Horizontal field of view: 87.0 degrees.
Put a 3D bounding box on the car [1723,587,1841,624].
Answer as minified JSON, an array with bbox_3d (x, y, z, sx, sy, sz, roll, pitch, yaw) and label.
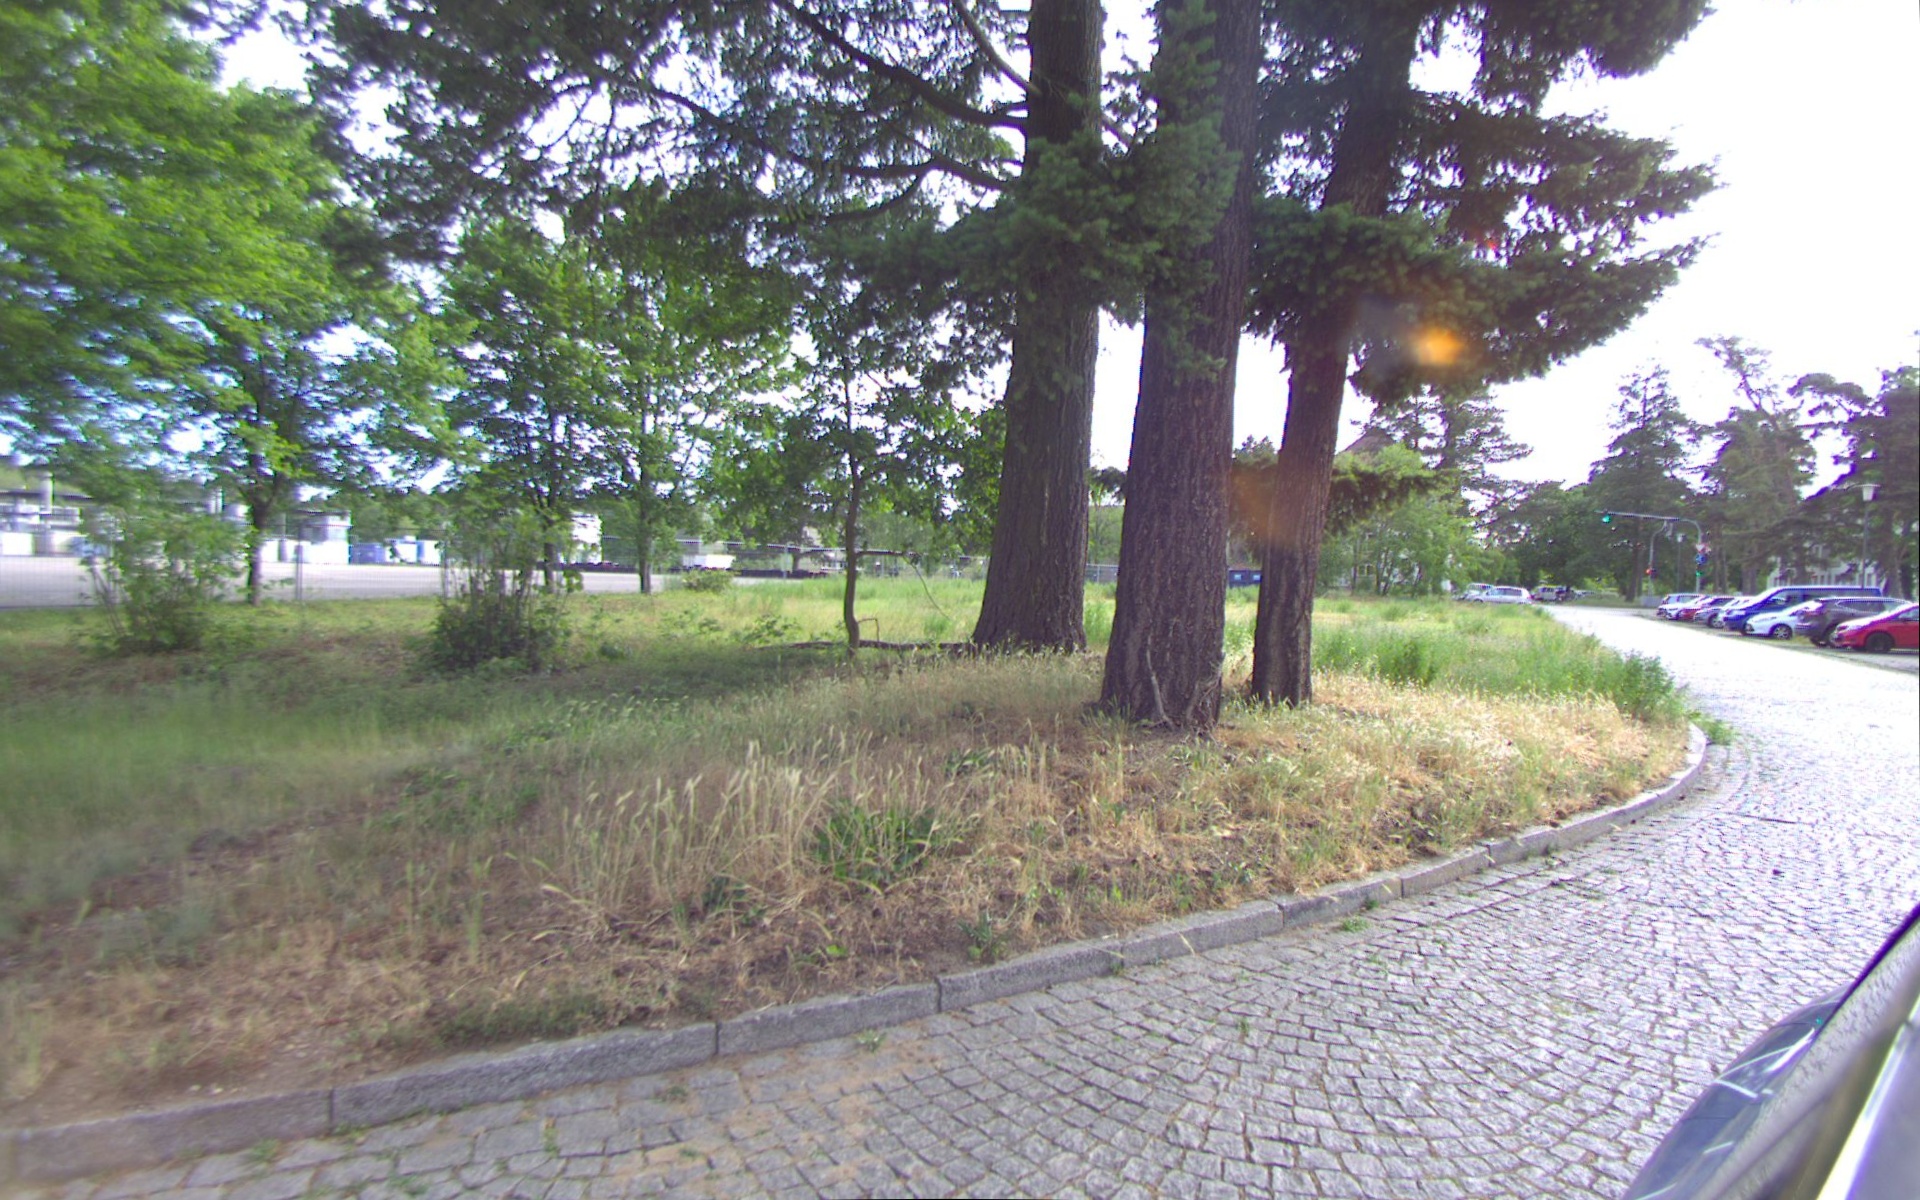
[{"bbox_3d":[35.015,0.243,43.214,3.558,1.472,1.676,-1,1,22],"label":"car"}]

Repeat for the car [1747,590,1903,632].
[{"bbox_3d":[30.877,0.377,36.278,3.894,1.410,1.727,-1,1,28],"label":"car"}]

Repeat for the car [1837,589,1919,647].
[{"bbox_3d":[27.131,0.520,28.074,3.920,1.539,1.690,2,1,29],"label":"car"}]

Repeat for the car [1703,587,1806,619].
[{"bbox_3d":[37.694,0.130,48.107,3.531,1.452,1.595,-1,1,22],"label":"car"}]

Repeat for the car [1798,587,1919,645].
[{"bbox_3d":[28.092,0.487,30.585,3.881,1.623,1.804,3,2,27],"label":"car"}]

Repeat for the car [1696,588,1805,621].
[{"bbox_3d":[35.725,0.188,45.816,3.558,1.438,1.607,0,1,22],"label":"car"}]

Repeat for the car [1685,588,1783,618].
[{"bbox_3d":[38.664,0.150,50.625,3.531,1.434,1.627,-1,1,22],"label":"car"}]

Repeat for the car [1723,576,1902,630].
[{"bbox_3d":[32.186,0.113,38.413,4.790,1.889,2.142,-1,1,28],"label":"car"}]

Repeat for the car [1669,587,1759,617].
[{"bbox_3d":[40.589,0.089,54.553,3.530,1.506,1.592,-1,1,21],"label":"car"}]

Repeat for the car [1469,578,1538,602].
[{"bbox_3d":[34.012,-0.646,63.381,3.693,1.455,1.613,0,2,26],"label":"car"}]

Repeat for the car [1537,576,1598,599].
[{"bbox_3d":[71.643,-1.445,119.426,5.735,2.594,2.748,-1,1,24],"label":"car"}]

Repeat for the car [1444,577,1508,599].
[{"bbox_3d":[34.998,-0.828,68.774,3.687,1.455,1.615,0,1,22],"label":"car"}]

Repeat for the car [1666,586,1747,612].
[{"bbox_3d":[43.622,-0.069,59.209,3.411,1.450,1.618,-1,1,20],"label":"car"}]

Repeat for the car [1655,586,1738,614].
[{"bbox_3d":[41.596,-0.007,57.219,3.538,1.476,1.612,-1,1,27],"label":"car"}]
